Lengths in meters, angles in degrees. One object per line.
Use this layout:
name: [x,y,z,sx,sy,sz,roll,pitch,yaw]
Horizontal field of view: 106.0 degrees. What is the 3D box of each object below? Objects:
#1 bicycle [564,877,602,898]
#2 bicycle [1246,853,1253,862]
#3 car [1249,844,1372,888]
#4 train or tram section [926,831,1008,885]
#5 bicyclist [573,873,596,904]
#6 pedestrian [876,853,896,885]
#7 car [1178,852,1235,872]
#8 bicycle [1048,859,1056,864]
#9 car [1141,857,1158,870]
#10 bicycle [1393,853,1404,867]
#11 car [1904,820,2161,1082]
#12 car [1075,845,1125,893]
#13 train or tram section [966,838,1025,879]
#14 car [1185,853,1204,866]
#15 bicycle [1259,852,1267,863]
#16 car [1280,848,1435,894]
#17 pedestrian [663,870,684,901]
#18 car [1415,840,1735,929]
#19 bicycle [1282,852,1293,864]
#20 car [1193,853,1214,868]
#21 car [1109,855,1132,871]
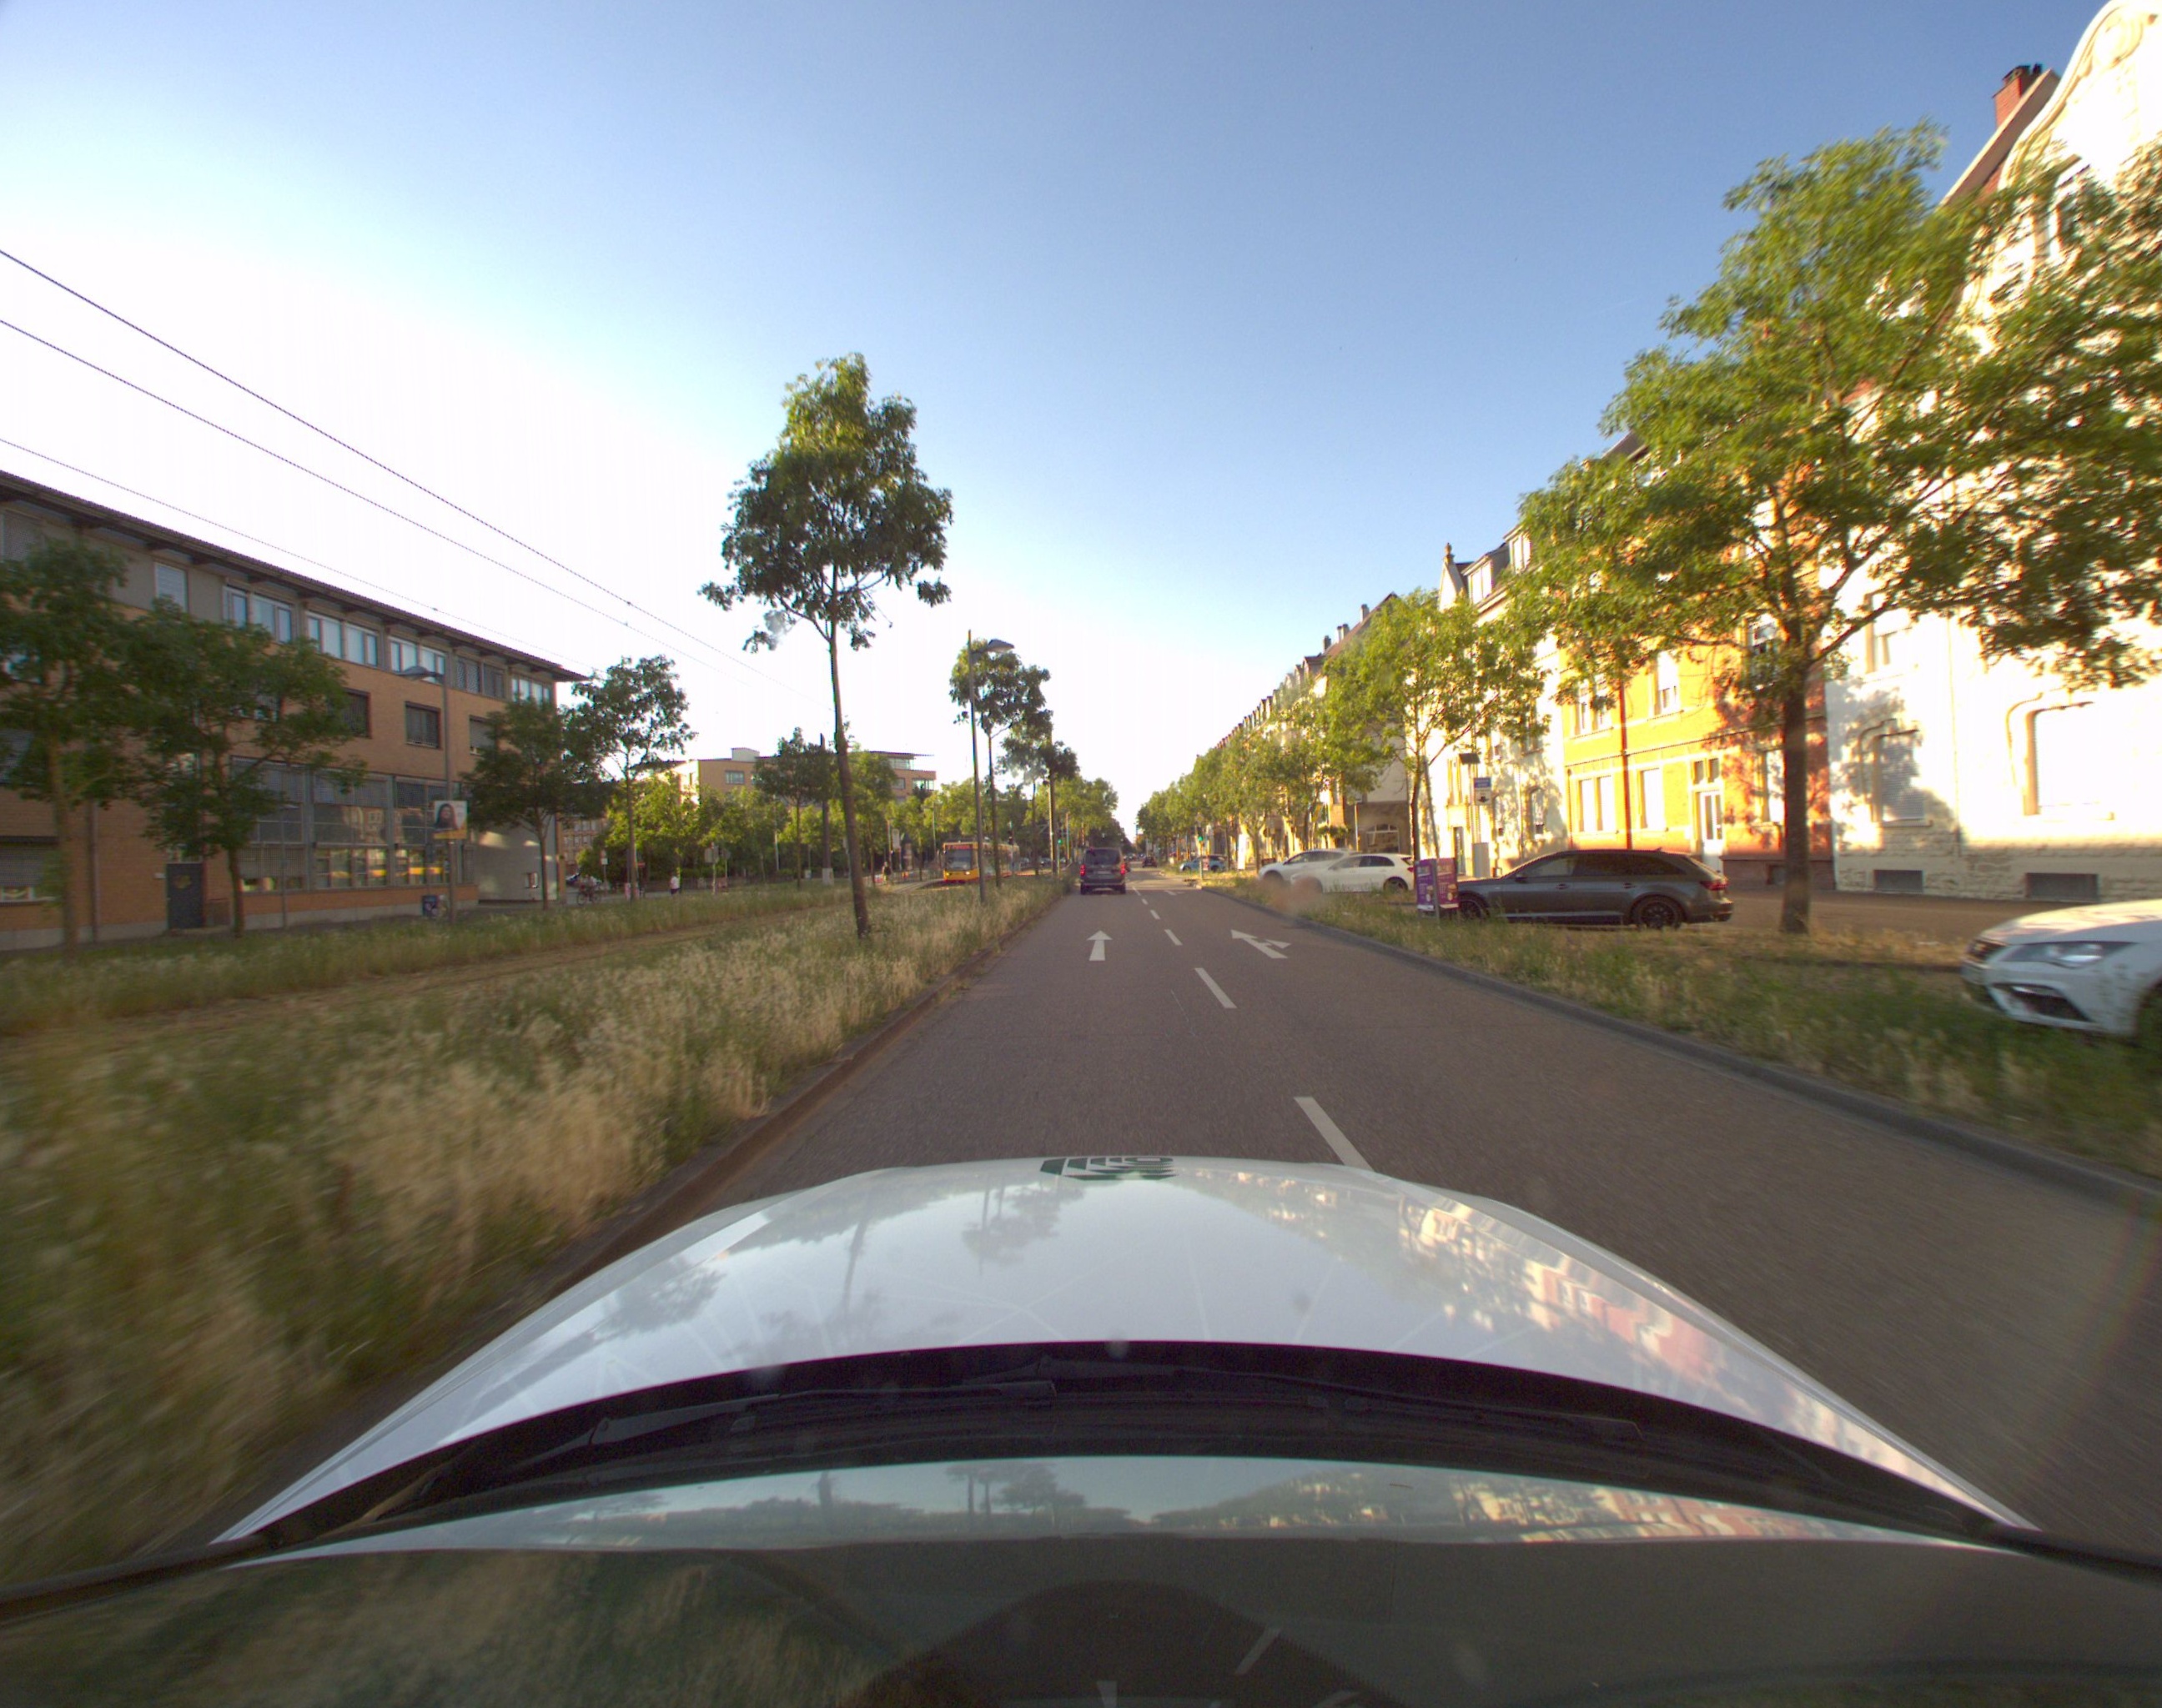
bicycle: [-27.479,1.841,45.003,0.707,1.052,2.095,-2,0,2]
bicycle: [20.369,0.443,98.410,0.481,1.005,1.747,-2,0,3]
car: [9.347,0.503,33.320,4.375,1.691,1.928,-2,0,37]
train or tram section: [-8.266,0.300,61.754,3.417,3.430,15.036,-2,0,2]
bicyclist: [-27.471,1.902,45.024,0.692,1.674,0.826,-2,-1,2]
pedestrian: [-12.569,0.965,52.560,0.930,2.014,0.957,-2,-1,2]
car: [10.463,0.700,67.938,4.232,1.522,1.859,-2,0,34]
bicycle: [-6.472,1.623,180.429,1.731,1.142,0.552,-2,0,-40]
car: [8.517,1.193,101.810,1.986,1.510,4.002,-1,0,2]
bicycle: [23.251,0.458,59.648,0.623,0.947,1.893,-2,1,17]
car: [8.002,0.494,4.511,4.586,1.510,1.859,-2,0,37]
car: [0.853,0.614,34.437,1.985,1.900,4.302,0,0,3]
train or tram section: [-7.730,0.432,76.245,3.417,3.339,13.865,-2,0,2]
car: [12.927,0.618,92.984,1.697,1.448,4.292,1,0,3]
bicycle: [20.070,0.410,89.887,0.481,1.165,1.747,-7,0,3]
car: [9.234,0.570,27.296,4.496,1.400,2.044,-2,-1,33]
pedestrian: [-22.539,1.741,45.058,0.687,1.697,0.827,-2,0,-6]
car: [8.515,0.522,14.347,4.523,1.348,1.908,-2,-1,35]
bicycle: [19.664,0.361,77.594,0.570,1.073,1.897,-3,0,2]
car: [12.541,0.631,83.521,1.719,1.512,4.274,1,0,2]
car: [3.795,0.846,79.061,1.987,1.510,3.999,-1,0,0]
